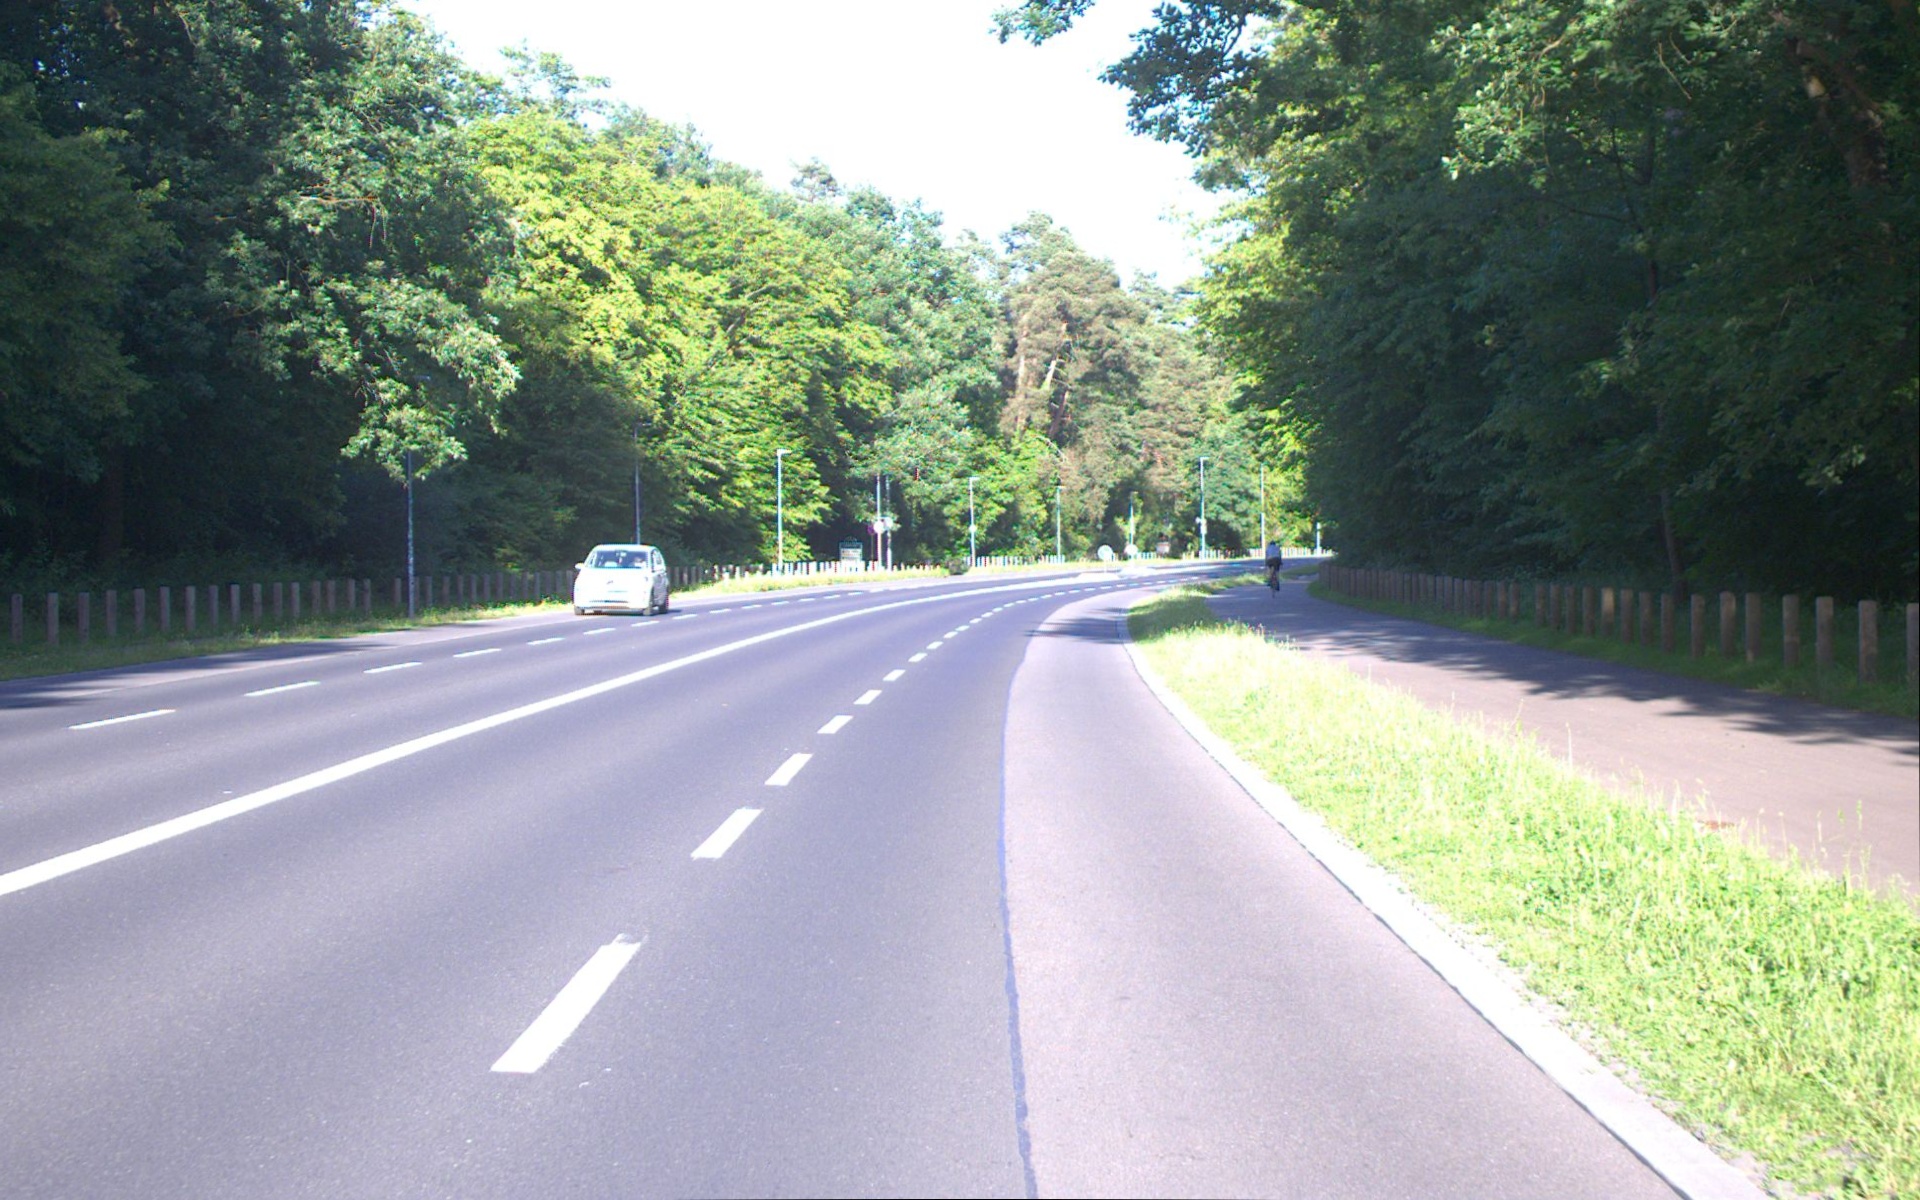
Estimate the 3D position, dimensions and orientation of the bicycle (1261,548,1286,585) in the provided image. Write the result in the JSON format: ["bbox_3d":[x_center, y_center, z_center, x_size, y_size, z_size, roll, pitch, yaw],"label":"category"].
[{"bbox_3d":[9.162,-0.994,100.544,0.712,1.052,2.053,0,1,5],"label":"bicycle"}]

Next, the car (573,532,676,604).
[{"bbox_3d":[-7.080,-0.705,72.833,1.587,1.432,4.309,2,1,2],"label":"car"}]
